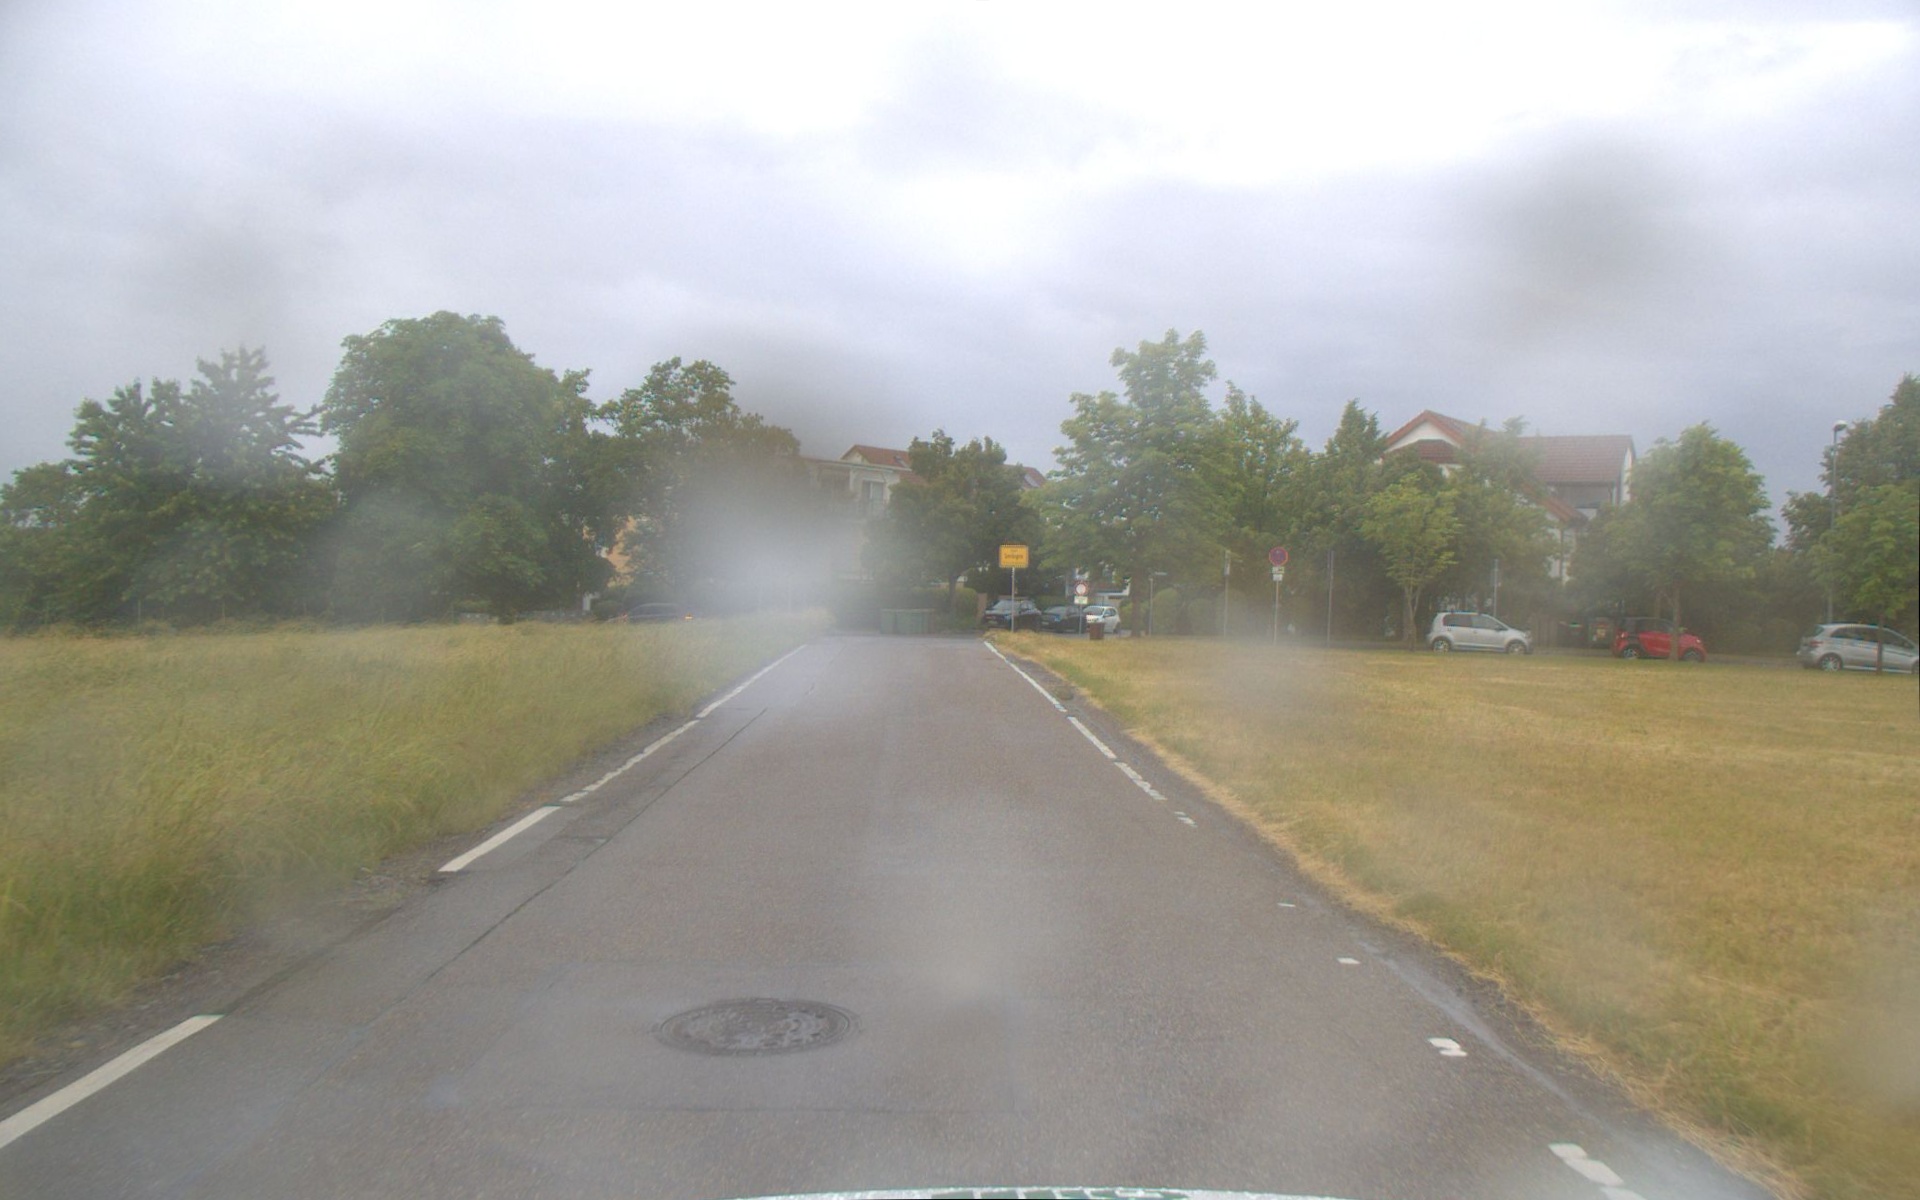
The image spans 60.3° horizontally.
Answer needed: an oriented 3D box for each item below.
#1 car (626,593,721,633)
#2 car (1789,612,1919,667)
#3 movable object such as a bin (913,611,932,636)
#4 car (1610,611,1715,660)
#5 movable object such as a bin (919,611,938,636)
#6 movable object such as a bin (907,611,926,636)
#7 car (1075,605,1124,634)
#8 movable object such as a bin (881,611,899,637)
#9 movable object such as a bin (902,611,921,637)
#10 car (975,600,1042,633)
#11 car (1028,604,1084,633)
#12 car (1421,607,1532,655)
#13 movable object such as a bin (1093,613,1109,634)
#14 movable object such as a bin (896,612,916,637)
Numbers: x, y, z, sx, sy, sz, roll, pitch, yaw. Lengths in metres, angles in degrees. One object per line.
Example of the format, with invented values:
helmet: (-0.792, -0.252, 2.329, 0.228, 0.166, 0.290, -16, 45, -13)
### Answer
car: (-11.850, 0.550, 68.433, 3.615, 1.579, 1.689, 1, -1, 29)
car: (28.658, 1.247, 52.384, 3.892, 1.579, 1.853, 2, 0, 11)
movable object such as a bin: (-1.680, 1.046, 74.009, 0.680, 1.073, 0.605, 1, 0, 19)
car: (22.767, 1.143, 53.681, 2.939, 1.461, 1.555, 2, -1, 16)
movable object such as a bin: (-1.423, 1.054, 74.690, 0.680, 1.073, 0.605, 1, 0, 19)
movable object such as a bin: (-1.942, 1.046, 73.424, 0.680, 1.086, 0.579, 1, 0, 19)
car: (7.886, 1.115, 93.332, 1.483, 1.502, 3.267, 3, 0, 29)
movable object such as a bin: (-3.071, 1.047, 72.469, 0.651, 1.092, 0.544, 1, 0, 20)
movable object such as a bin: (-2.148, 1.049, 72.836, 0.680, 1.093, 0.544, 1, 0, 19)
car: (2.486, 0.842, 83.632, 1.741, 1.545, 4.133, 3, 0, 26)
car: (5.176, 1.024, 88.746, 1.604, 1.433, 3.599, 3, 0, 28)
car: (17.186, 1.042, 55.097, 3.468, 1.505, 1.681, 1, -1, 16)
movable object such as a bin: (6.500, 1.079, 76.138, 0.560, 0.947, 0.529, 1, -1, 32)
movable object such as a bin: (-2.360, 1.058, 72.248, 0.680, 1.093, 0.602, 1, 0, 19)
